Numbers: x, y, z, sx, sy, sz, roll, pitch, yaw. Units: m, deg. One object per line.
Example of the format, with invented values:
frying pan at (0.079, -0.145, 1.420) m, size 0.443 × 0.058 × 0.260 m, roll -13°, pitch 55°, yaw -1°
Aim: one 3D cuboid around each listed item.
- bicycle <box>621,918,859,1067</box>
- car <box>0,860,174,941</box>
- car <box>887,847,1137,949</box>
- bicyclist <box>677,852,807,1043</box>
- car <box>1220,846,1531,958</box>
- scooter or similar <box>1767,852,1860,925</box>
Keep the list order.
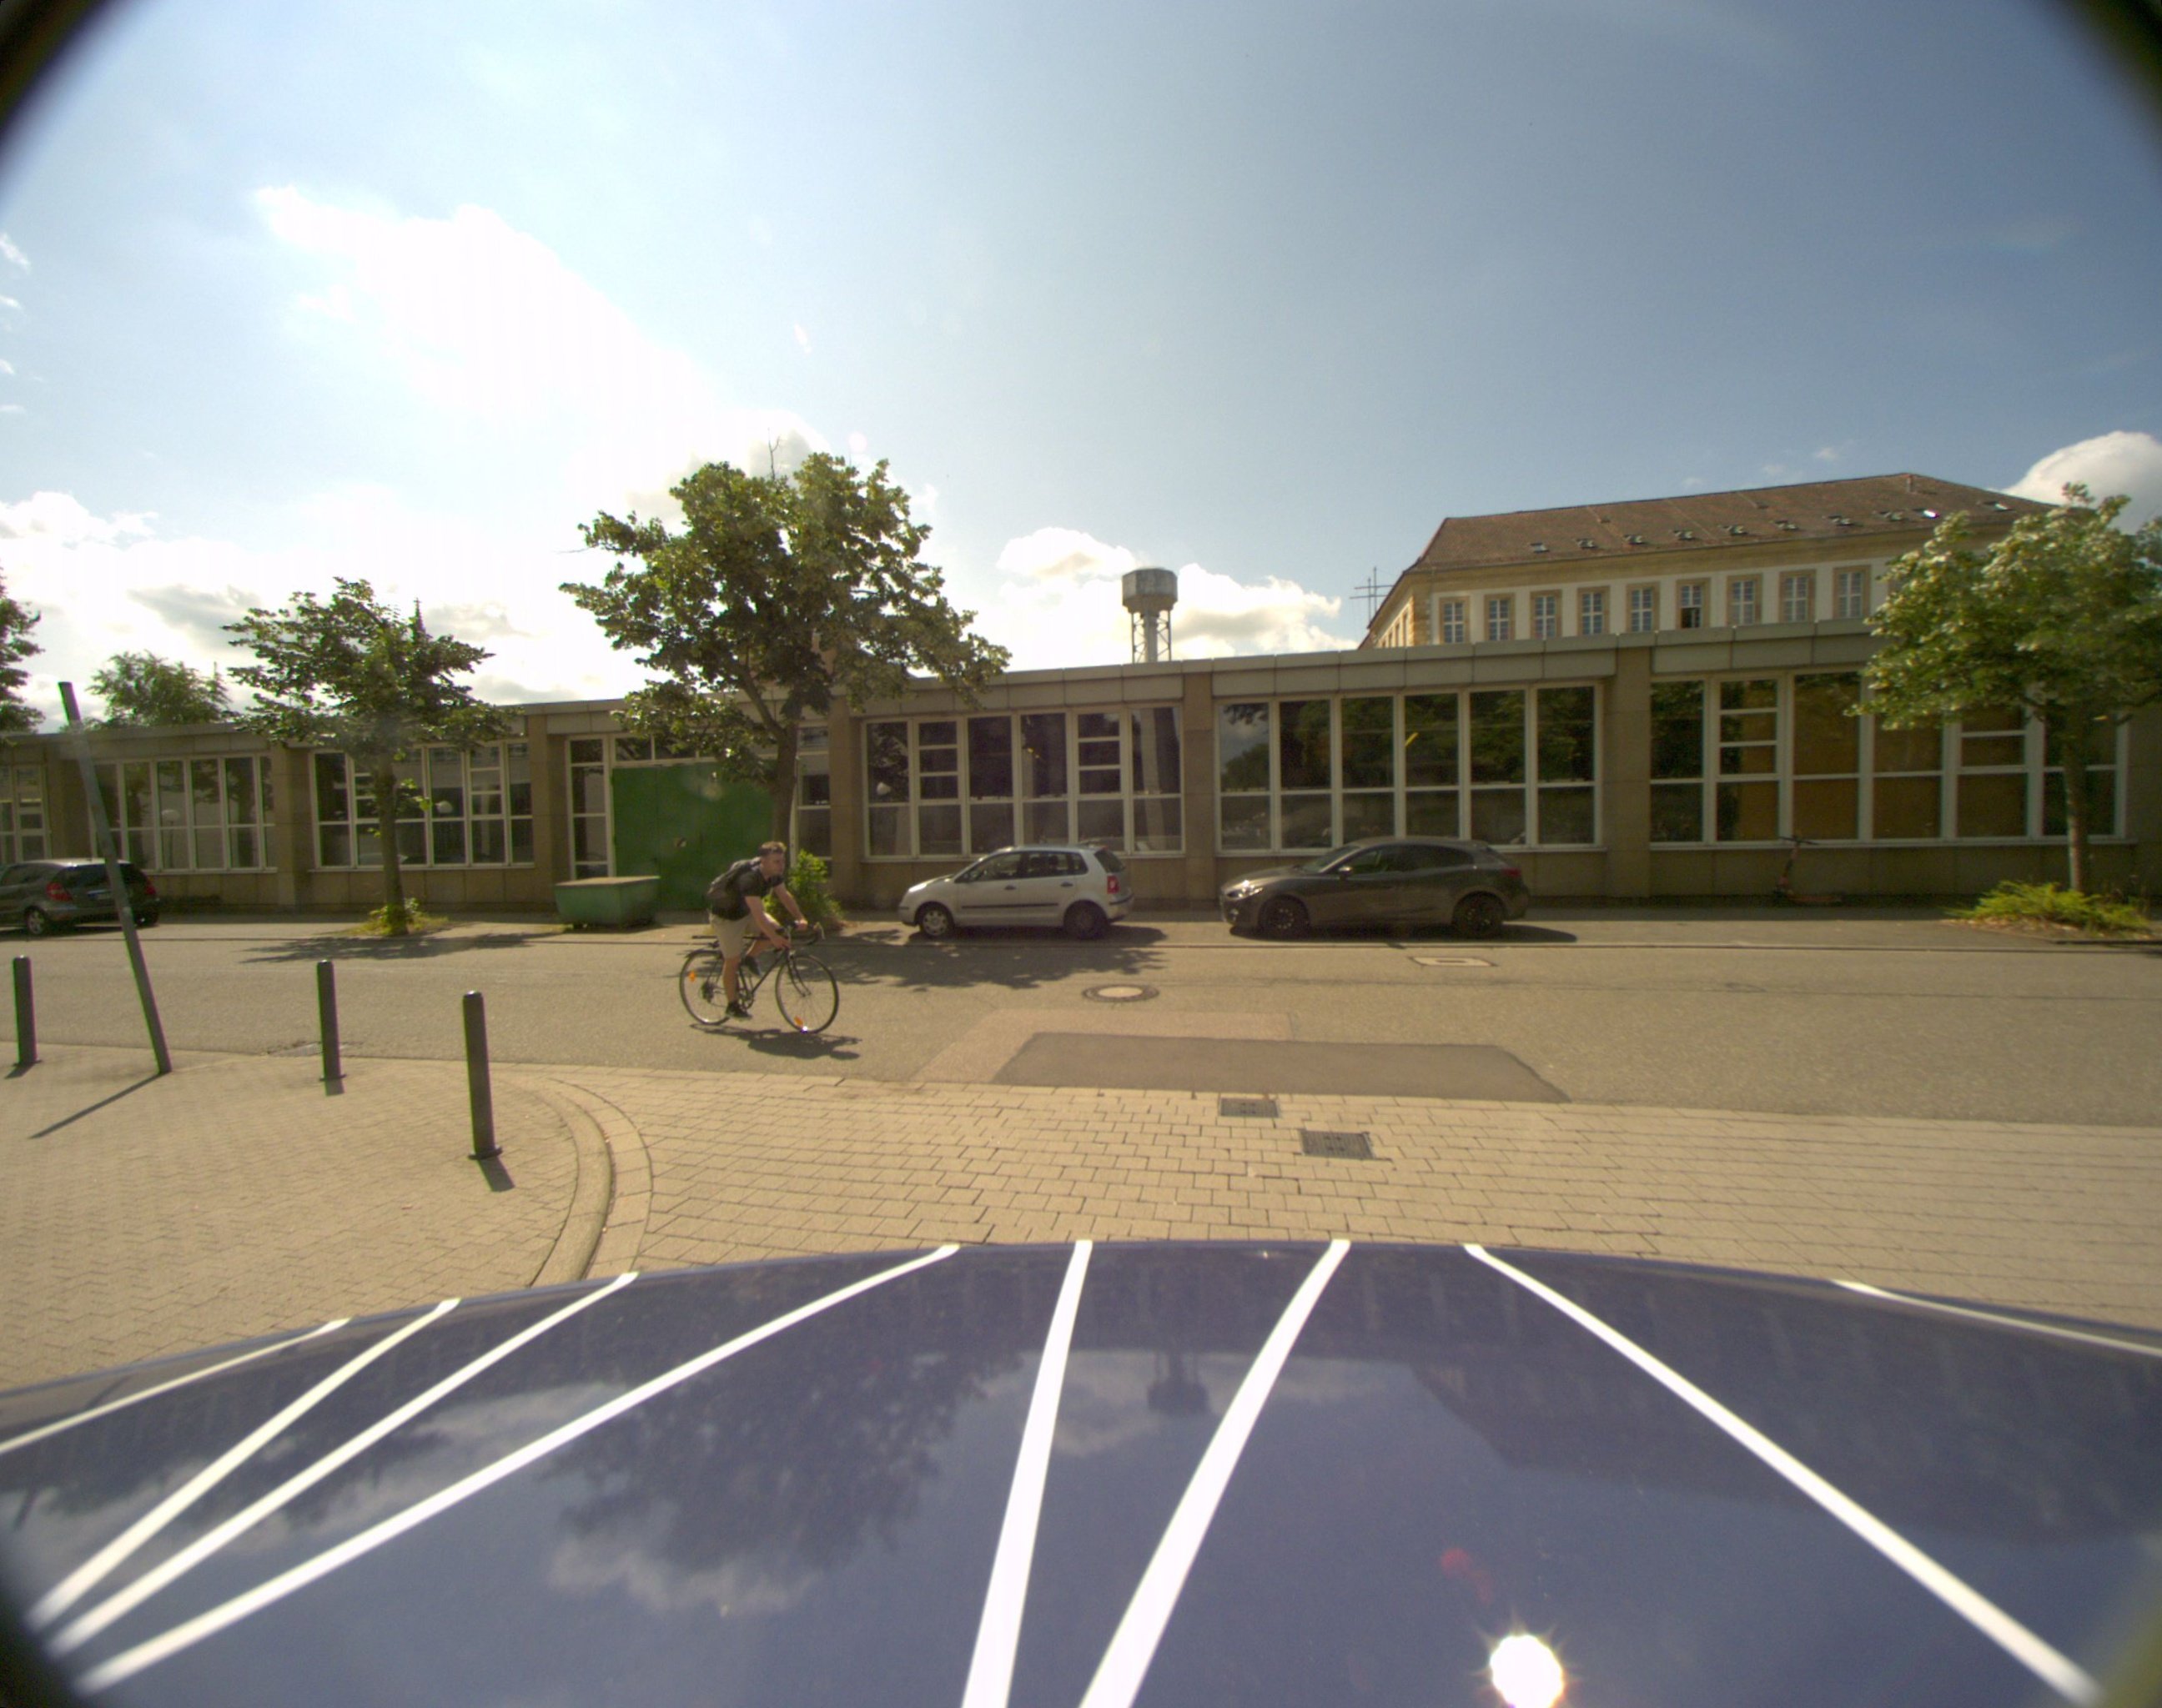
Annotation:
bicycle at (-2.927, 1.154, 6.565) m, size 1.827 × 1.102 × 0.605 m, roll 0°, pitch 4°, yaw 13°
car at (-23.032, 0.994, 16.836) m, size 4.128 × 1.569 × 1.852 m, roll -1°, pitch 3°, yaw 10°
car at (-1.056, 0.686, 12.618) m, size 3.773 × 1.468 × 1.654 m, roll -1°, pitch 4°, yaw 11°
bicyclist at (-2.892, 0.769, 6.538) m, size 0.726 × 1.527 × 0.605 m, roll 0°, pitch 4°, yaw 13°
car at (4.289, 0.711, 11.659) m, size 4.205 × 1.468 × 1.654 m, roll -1°, pitch 3°, yaw 11°
scooter or similar at (12.518, 0.592, 13.003) m, size 1.156 × 1.219 × 0.290 m, roll -1°, pitch 2°, yaw 14°
